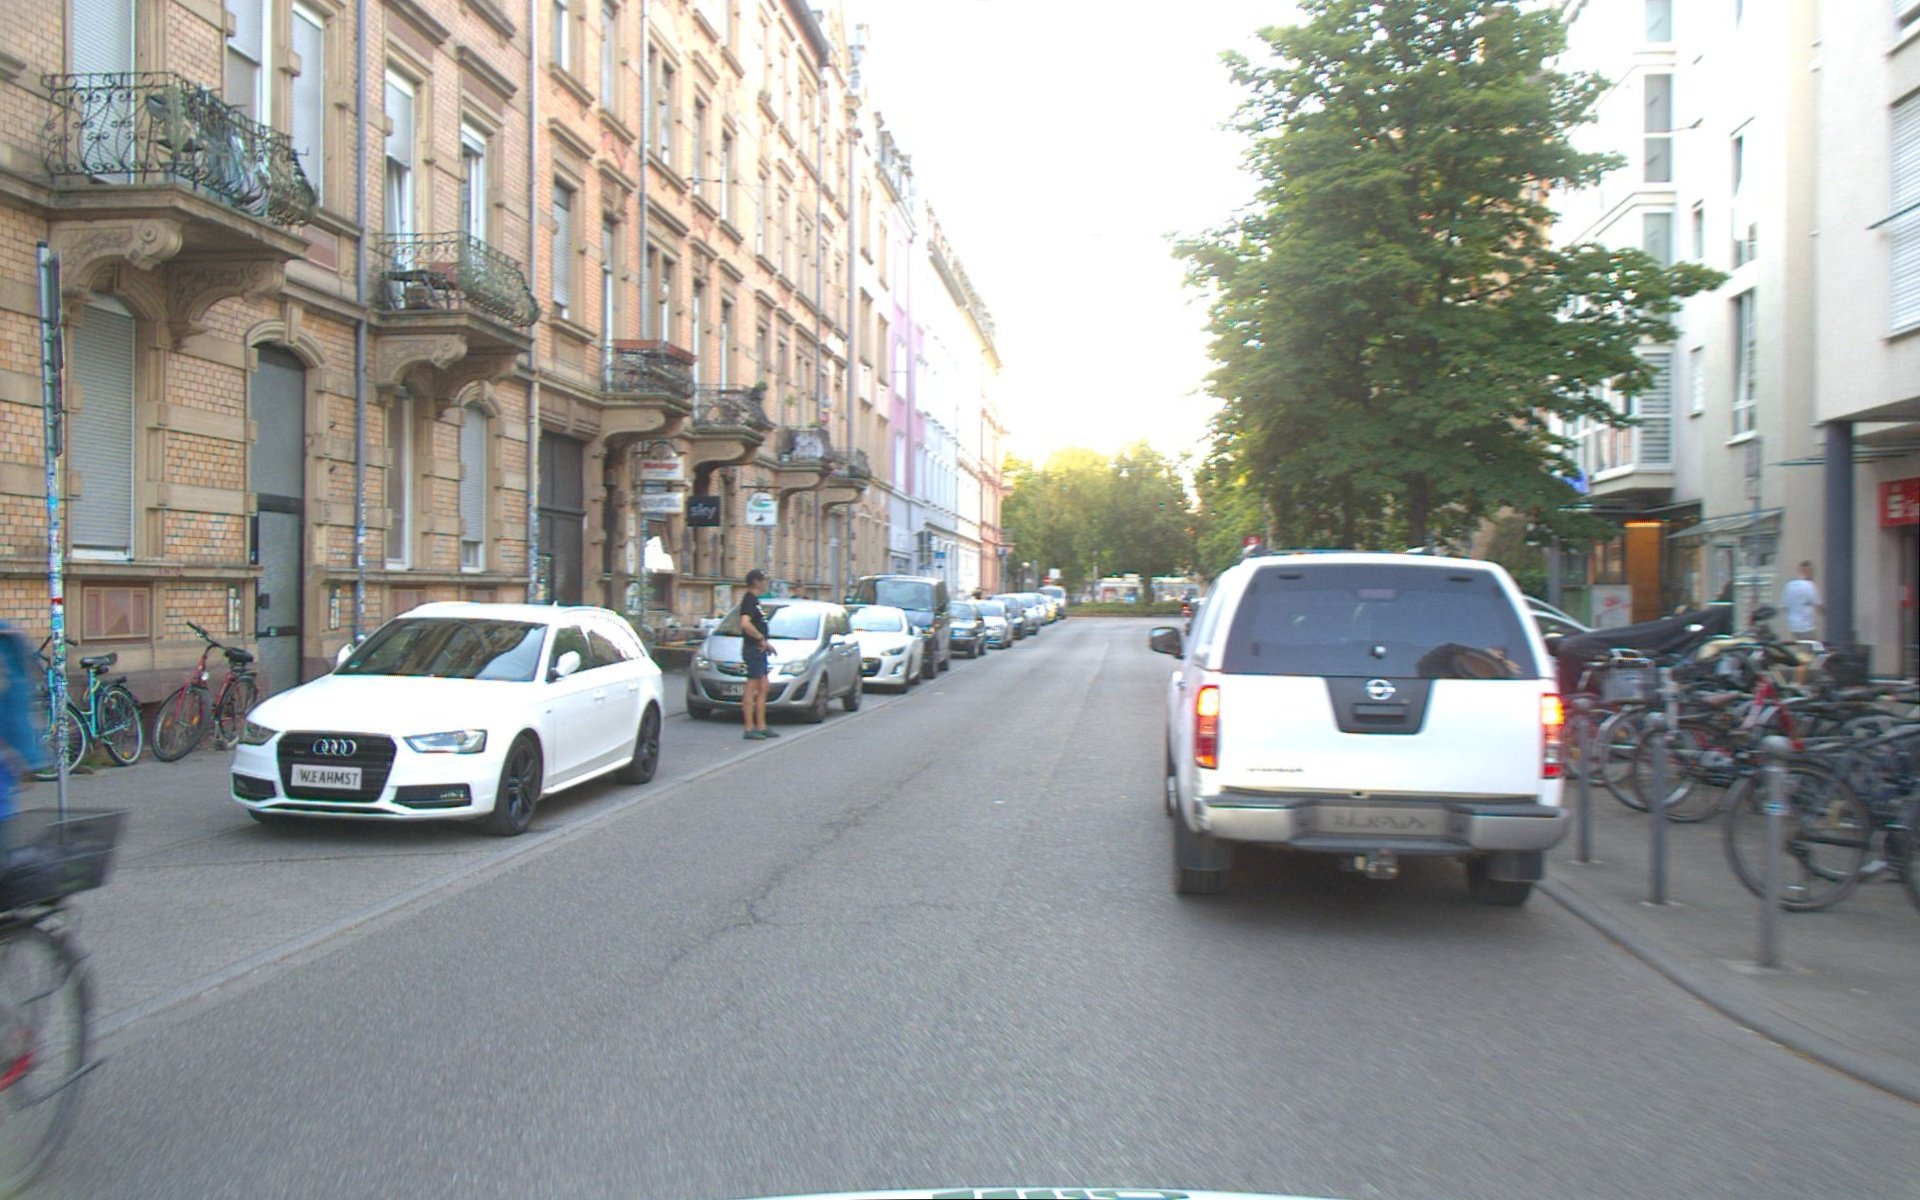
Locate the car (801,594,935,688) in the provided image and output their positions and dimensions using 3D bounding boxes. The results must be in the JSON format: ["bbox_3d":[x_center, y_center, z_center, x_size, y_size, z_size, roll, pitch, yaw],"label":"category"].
[{"bbox_3d":[-1.525,0.659,28.968,1.746,1.447,4.487,2,0,4],"label":"car"}]

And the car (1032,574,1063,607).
[{"bbox_3d":[5.503,-0.591,104.462,1.773,2.011,4.187,2,0,1],"label":"car"}]

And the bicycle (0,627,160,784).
[{"bbox_3d":[-6.727,0.750,12.385,0.553,1.054,1.625,1,0,5],"label":"bicycle"}]

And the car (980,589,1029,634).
[{"bbox_3d":[1.693,0.411,62.180,1.601,1.593,3.784,1,0,5],"label":"car"}]

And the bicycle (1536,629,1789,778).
[{"bbox_3d":[5.566,0.814,13.187,1.683,1.049,0.668,-4,-1,9],"label":"bicycle"}]

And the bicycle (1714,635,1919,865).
[{"bbox_3d":[5.093,0.770,8.831,1.771,1.137,0.707,-2,-1,4],"label":"bicycle"}]

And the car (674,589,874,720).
[{"bbox_3d":[-2.309,0.630,21.551,1.680,1.483,4.003,2,1,7],"label":"car"}]

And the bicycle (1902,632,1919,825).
[{"bbox_3d":[6.462,0.732,9.477,1.685,1.137,0.654,-2,-1,9],"label":"bicycle"}]

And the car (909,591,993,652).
[{"bbox_3d":[-0.177,0.553,43.318,1.700,1.443,4.781,2,0,5],"label":"car"}]

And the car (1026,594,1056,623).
[{"bbox_3d":[4.715,0.487,96.337,1.663,1.579,4.024,2,0,3],"label":"car"}]

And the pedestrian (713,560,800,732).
[{"bbox_3d":[-2.173,0.487,17.783,0.542,1.786,1.023,0,-1,17],"label":"pedestrian"}]

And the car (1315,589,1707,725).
[{"bbox_3d":[6.853,0.688,20.886,4.333,1.481,1.779,-2,0,0],"label":"car"}]

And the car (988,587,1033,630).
[{"bbox_3d":[2.121,0.345,68.480,1.806,1.688,4.254,0,0,3],"label":"car"}]

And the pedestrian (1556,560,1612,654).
[{"bbox_3d":[11.977,0.136,31.769,0.712,1.746,0.964,-2,-1,6],"label":"pedestrian"}]

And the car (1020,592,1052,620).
[{"bbox_3d":[4.165,0.318,90.428,1.663,1.451,4.024,2,0,3],"label":"car"}]

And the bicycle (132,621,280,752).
[{"bbox_3d":[-6.553,0.723,14.462,0.580,1.045,1.623,1,0,-2],"label":"bicycle"}]

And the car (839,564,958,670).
[{"bbox_3d":[-1.188,0.317,34.275,1.951,1.957,4.953,2,0,3],"label":"car"}]

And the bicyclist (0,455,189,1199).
[{"bbox_3d":[-2.411,0.507,3.880,0.631,1.649,0.919,-2,0,12],"label":"bicyclist"}]

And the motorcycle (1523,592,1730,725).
[{"bbox_3d":[7.570,0.656,18.843,2.014,1.393,0.717,-3,0,2],"label":"motorcycle"}]

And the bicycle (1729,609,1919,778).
[{"bbox_3d":[6.530,0.649,11.858,1.686,1.137,0.654,-2,-1,3],"label":"bicycle"}]

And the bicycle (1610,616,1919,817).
[{"bbox_3d":[5.329,0.766,10.982,1.751,1.203,0.734,-4,-1,16],"label":"bicycle"}]

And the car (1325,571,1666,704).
[{"bbox_3d":[7.535,0.524,23.598,4.306,1.676,1.747,-2,0,5],"label":"car"}]

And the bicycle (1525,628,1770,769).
[{"bbox_3d":[5.702,0.814,13.793,1.735,1.040,0.565,-4,-1,9],"label":"bicycle"}]

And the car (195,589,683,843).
[{"bbox_3d":[-3.469,0.667,12.023,1.721,1.436,4.512,1,1,6],"label":"car"}]

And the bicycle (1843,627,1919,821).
[{"bbox_3d":[6.414,0.721,10.056,1.685,1.137,0.654,-2,-1,9],"label":"bicycle"}]

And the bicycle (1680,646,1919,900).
[{"bbox_3d":[4.538,0.815,8.093,1.686,1.137,0.707,-2,-1,4],"label":"bicycle"}]

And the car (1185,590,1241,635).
[{"bbox_3d":[9.109,0.440,59.819,1.641,1.481,4.232,-3,0,5],"label":"car"}]

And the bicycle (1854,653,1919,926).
[{"bbox_3d":[4.942,0.792,7.186,1.685,1.137,0.707,-2,-1,9],"label":"bicycle"}]

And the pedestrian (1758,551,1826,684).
[{"bbox_3d":[11.371,0.239,22.614,0.613,1.784,0.587,1,-1,-6],"label":"pedestrian"}]

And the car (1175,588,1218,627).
[{"bbox_3d":[10.006,0.296,70.171,1.640,1.527,3.904,-3,0,7],"label":"car"}]

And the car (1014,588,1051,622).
[{"bbox_3d":[3.722,0.261,84.420,1.662,1.649,4.024,2,0,5],"label":"car"}]

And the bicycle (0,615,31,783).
[{"bbox_3d":[-6.938,0.690,10.912,0.504,1.151,1.731,1,0,5],"label":"bicycle"}]

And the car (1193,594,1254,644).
[{"bbox_3d":[8.498,0.588,53.589,1.641,1.453,4.481,-4,0,6],"label":"car"}]

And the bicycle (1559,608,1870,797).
[{"bbox_3d":[5.343,0.722,11.829,1.829,1.203,0.743,-4,-1,11],"label":"bicycle"}]

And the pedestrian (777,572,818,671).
[{"bbox_3d":[-3.053,0.392,31.211,0.593,1.803,0.777,3,1,2],"label":"pedestrian"}]

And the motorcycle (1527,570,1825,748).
[{"bbox_3d":[6.809,0.566,15.854,2.438,1.576,0.824,-2,-1,9],"label":"motorcycle"}]

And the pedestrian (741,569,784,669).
[{"bbox_3d":[-3.683,0.346,30.920,0.568,1.802,0.998,3,1,2],"label":"pedestrian"}]

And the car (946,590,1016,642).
[{"bbox_3d":[0.701,0.484,52.471,1.795,1.483,4.209,3,0,6],"label":"car"}]

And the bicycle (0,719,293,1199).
[{"bbox_3d":[-2.440,0.906,3.696,0.631,1.100,2.170,-2,0,12],"label":"bicycle"}]

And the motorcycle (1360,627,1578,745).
[{"bbox_3d":[5.200,0.862,16.924,2.020,1.097,0.662,-2,-1,-10],"label":"motorcycle"}]

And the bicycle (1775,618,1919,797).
[{"bbox_3d":[6.512,0.697,11.134,1.686,1.137,0.654,-2,-1,3],"label":"bicycle"}]

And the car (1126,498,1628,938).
[{"bbox_3d":[2.118,0.529,9.997,1.871,1.885,5.272,2,0,3],"label":"car"}]
